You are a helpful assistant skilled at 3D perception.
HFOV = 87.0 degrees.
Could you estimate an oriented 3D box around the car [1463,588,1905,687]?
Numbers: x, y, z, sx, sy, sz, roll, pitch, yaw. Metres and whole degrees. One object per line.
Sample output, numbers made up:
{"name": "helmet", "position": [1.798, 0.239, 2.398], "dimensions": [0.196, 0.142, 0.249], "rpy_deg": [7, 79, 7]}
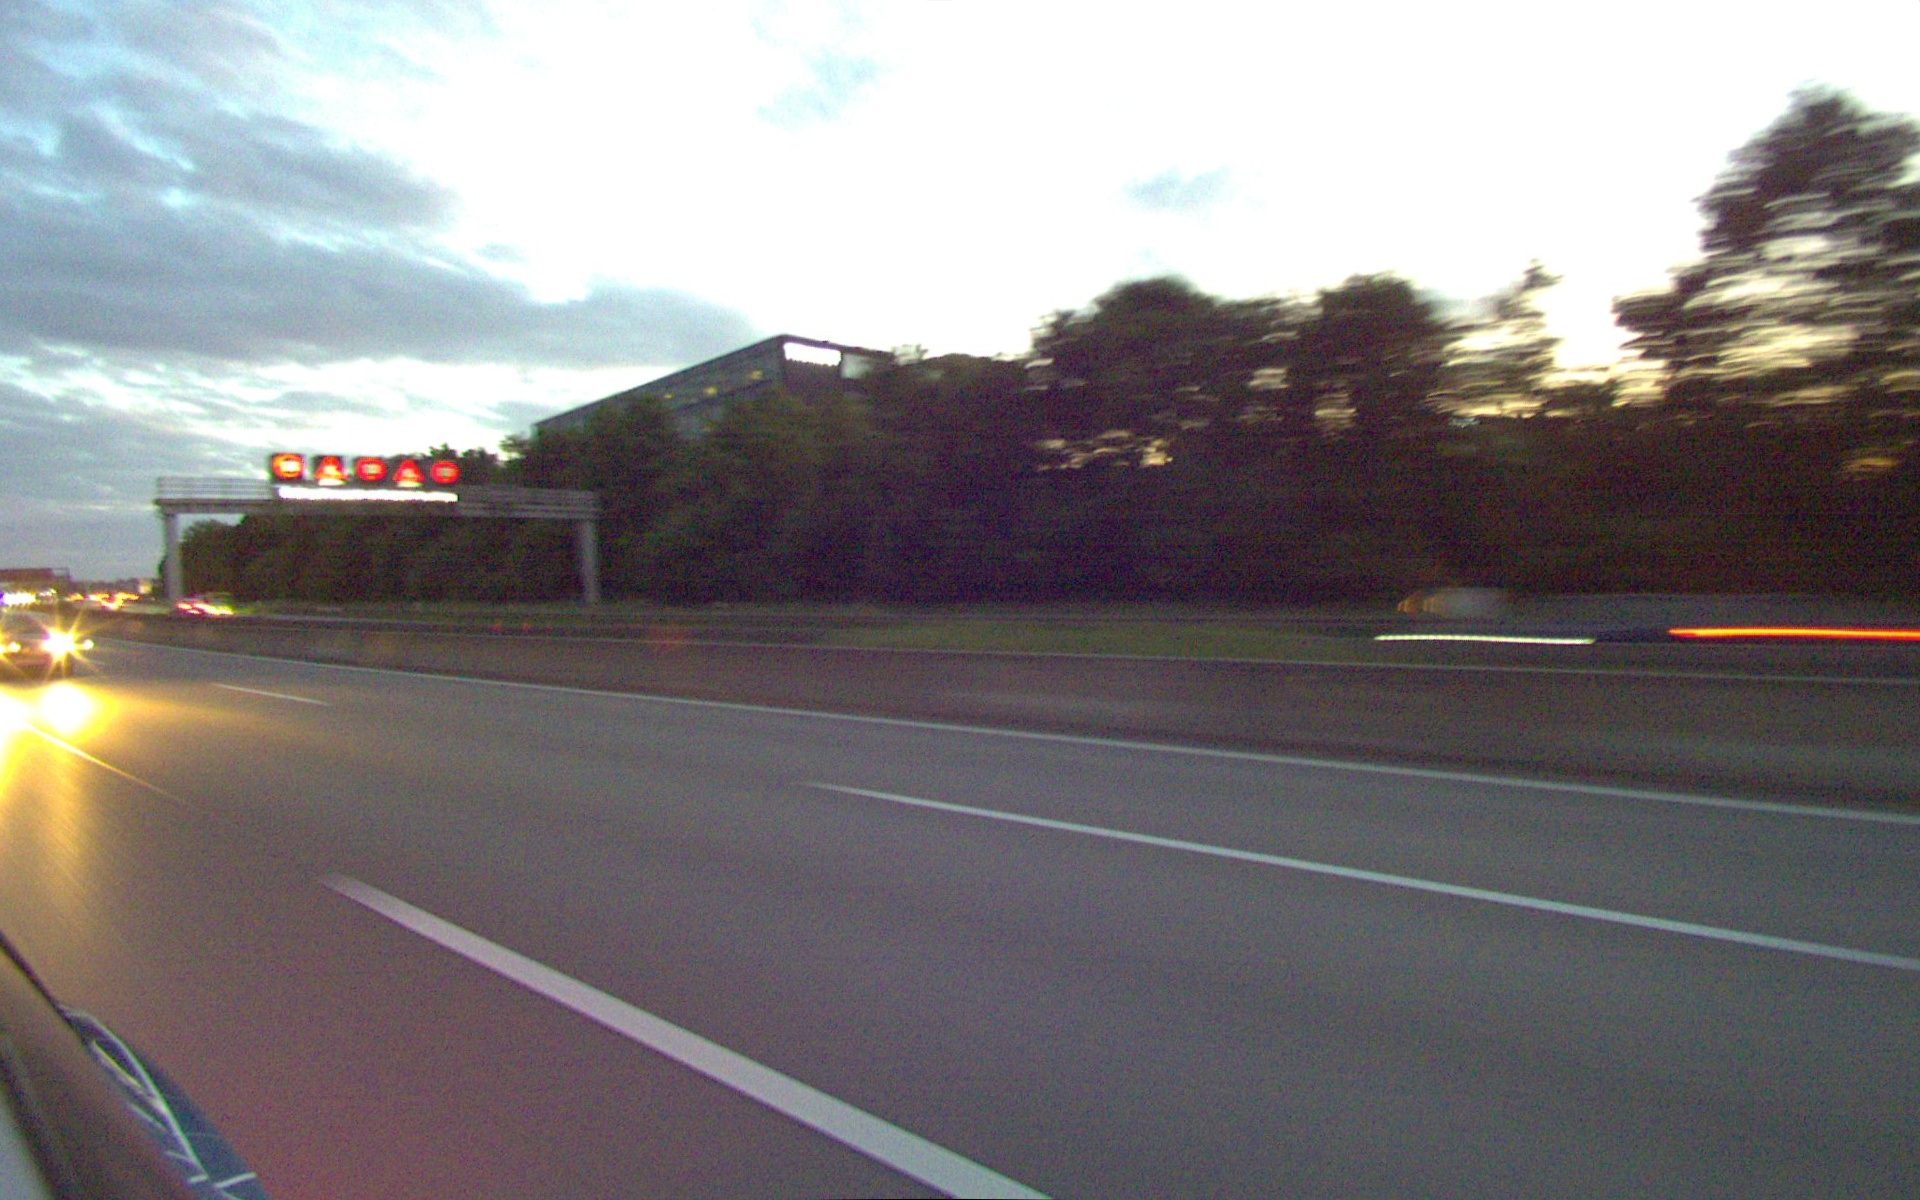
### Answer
{"name": "car", "position": [10.780, 0.466, 15.462], "dimensions": [5.231, 1.235, 2.039], "rpy_deg": [0, 1, 41]}

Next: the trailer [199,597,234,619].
{"name": "trailer", "position": [-71.824, 0.791, 97.736], "dimensions": [4.240, 2.017, 1.892], "rpy_deg": [-1, 2, 43]}

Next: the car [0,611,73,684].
{"name": "car", "position": [-21.702, 1.035, 23.099], "dimensions": [3.999, 1.491, 1.695], "rpy_deg": [0, 1, 42]}

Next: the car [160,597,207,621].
{"name": "car", "position": [-63.824, 0.705, 83.174], "dimensions": [6.013, 1.881, 1.893], "rpy_deg": [0, 1, 41]}

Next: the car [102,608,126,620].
{"name": "car", "position": [-103.326, 1.749, 123.622], "dimensions": [4.898, 1.364, 1.671], "rpy_deg": [0, 1, 43]}
